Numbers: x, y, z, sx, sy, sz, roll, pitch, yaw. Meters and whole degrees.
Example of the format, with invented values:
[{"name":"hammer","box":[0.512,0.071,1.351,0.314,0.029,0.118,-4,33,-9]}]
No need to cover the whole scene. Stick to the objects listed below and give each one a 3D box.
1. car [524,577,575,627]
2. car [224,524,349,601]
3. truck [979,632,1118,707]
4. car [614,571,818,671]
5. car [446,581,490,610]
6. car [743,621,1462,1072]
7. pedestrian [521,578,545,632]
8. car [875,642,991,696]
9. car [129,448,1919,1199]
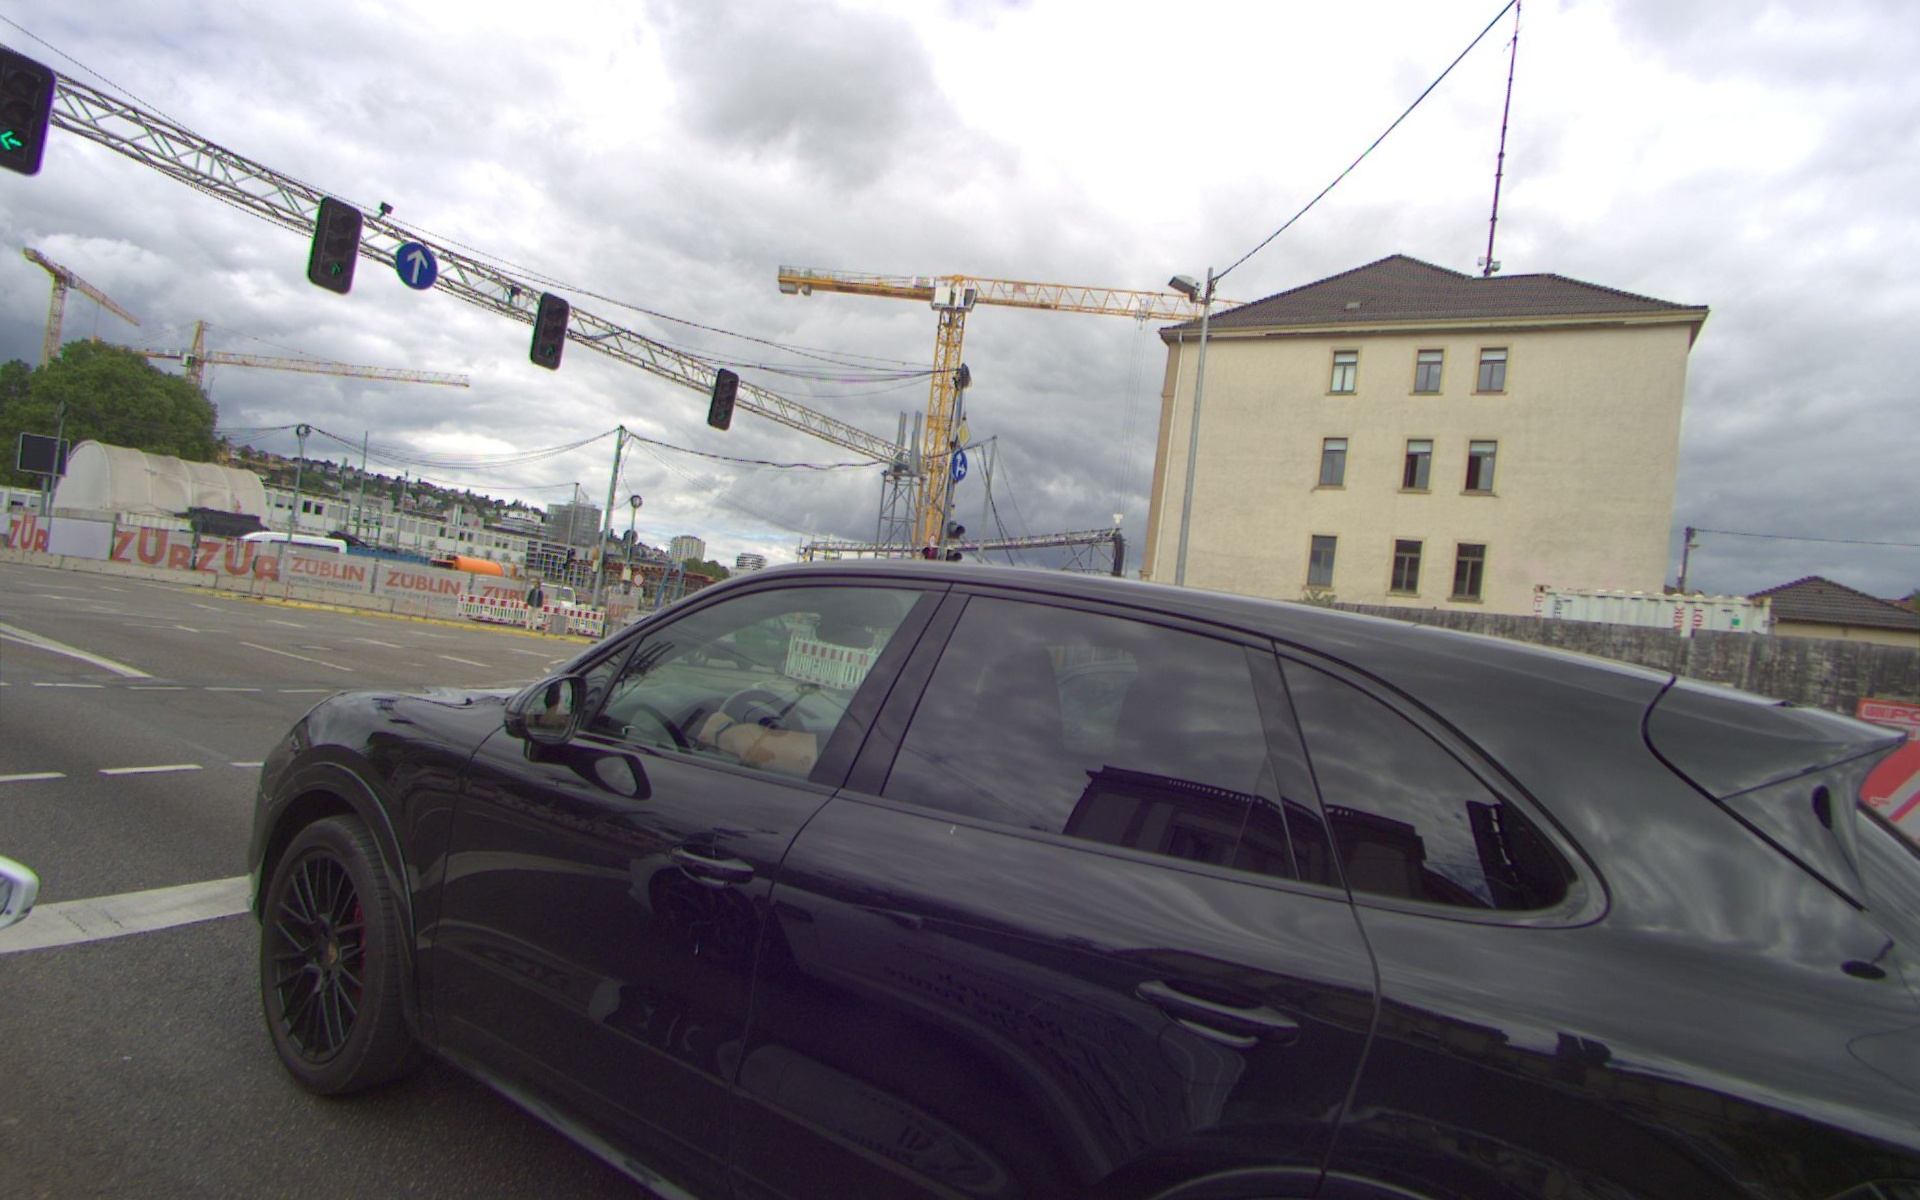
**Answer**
[{"name":"car","box":[-18.366,0.070,44.953,1.756,1.976,3.109,8,-2,-25]},{"name":"car","box":[-28.795,-1.577,43.071,1.660,2.692,3.978,5,-3,45]},{"name":"truck","box":[4.422,3.426,47.920,2.583,2.835,9.001,7,-3,32]},{"name":"car","box":[-7.198,0.731,30.383,2.267,2.331,5.766,6,-3,34]},{"name":"car","box":[-31.498,-0.314,64.378,1.668,1.545,3.961,8,-2,-37]},{"name":"car","box":[0.768,1.198,6.234,3.934,1.644,1.679,6,-2,32]},{"name":"pedestrian","box":[-16.404,0.197,38.650,0.580,1.999,0.433,8,-1,-17]},{"name":"car","box":[-0.961,2.696,38.810,1.988,1.643,4.815,6,-3,33]},{"name":"car","box":[-0.157,0.660,2.751,4.411,1.735,1.827,6,-2,32]}]
